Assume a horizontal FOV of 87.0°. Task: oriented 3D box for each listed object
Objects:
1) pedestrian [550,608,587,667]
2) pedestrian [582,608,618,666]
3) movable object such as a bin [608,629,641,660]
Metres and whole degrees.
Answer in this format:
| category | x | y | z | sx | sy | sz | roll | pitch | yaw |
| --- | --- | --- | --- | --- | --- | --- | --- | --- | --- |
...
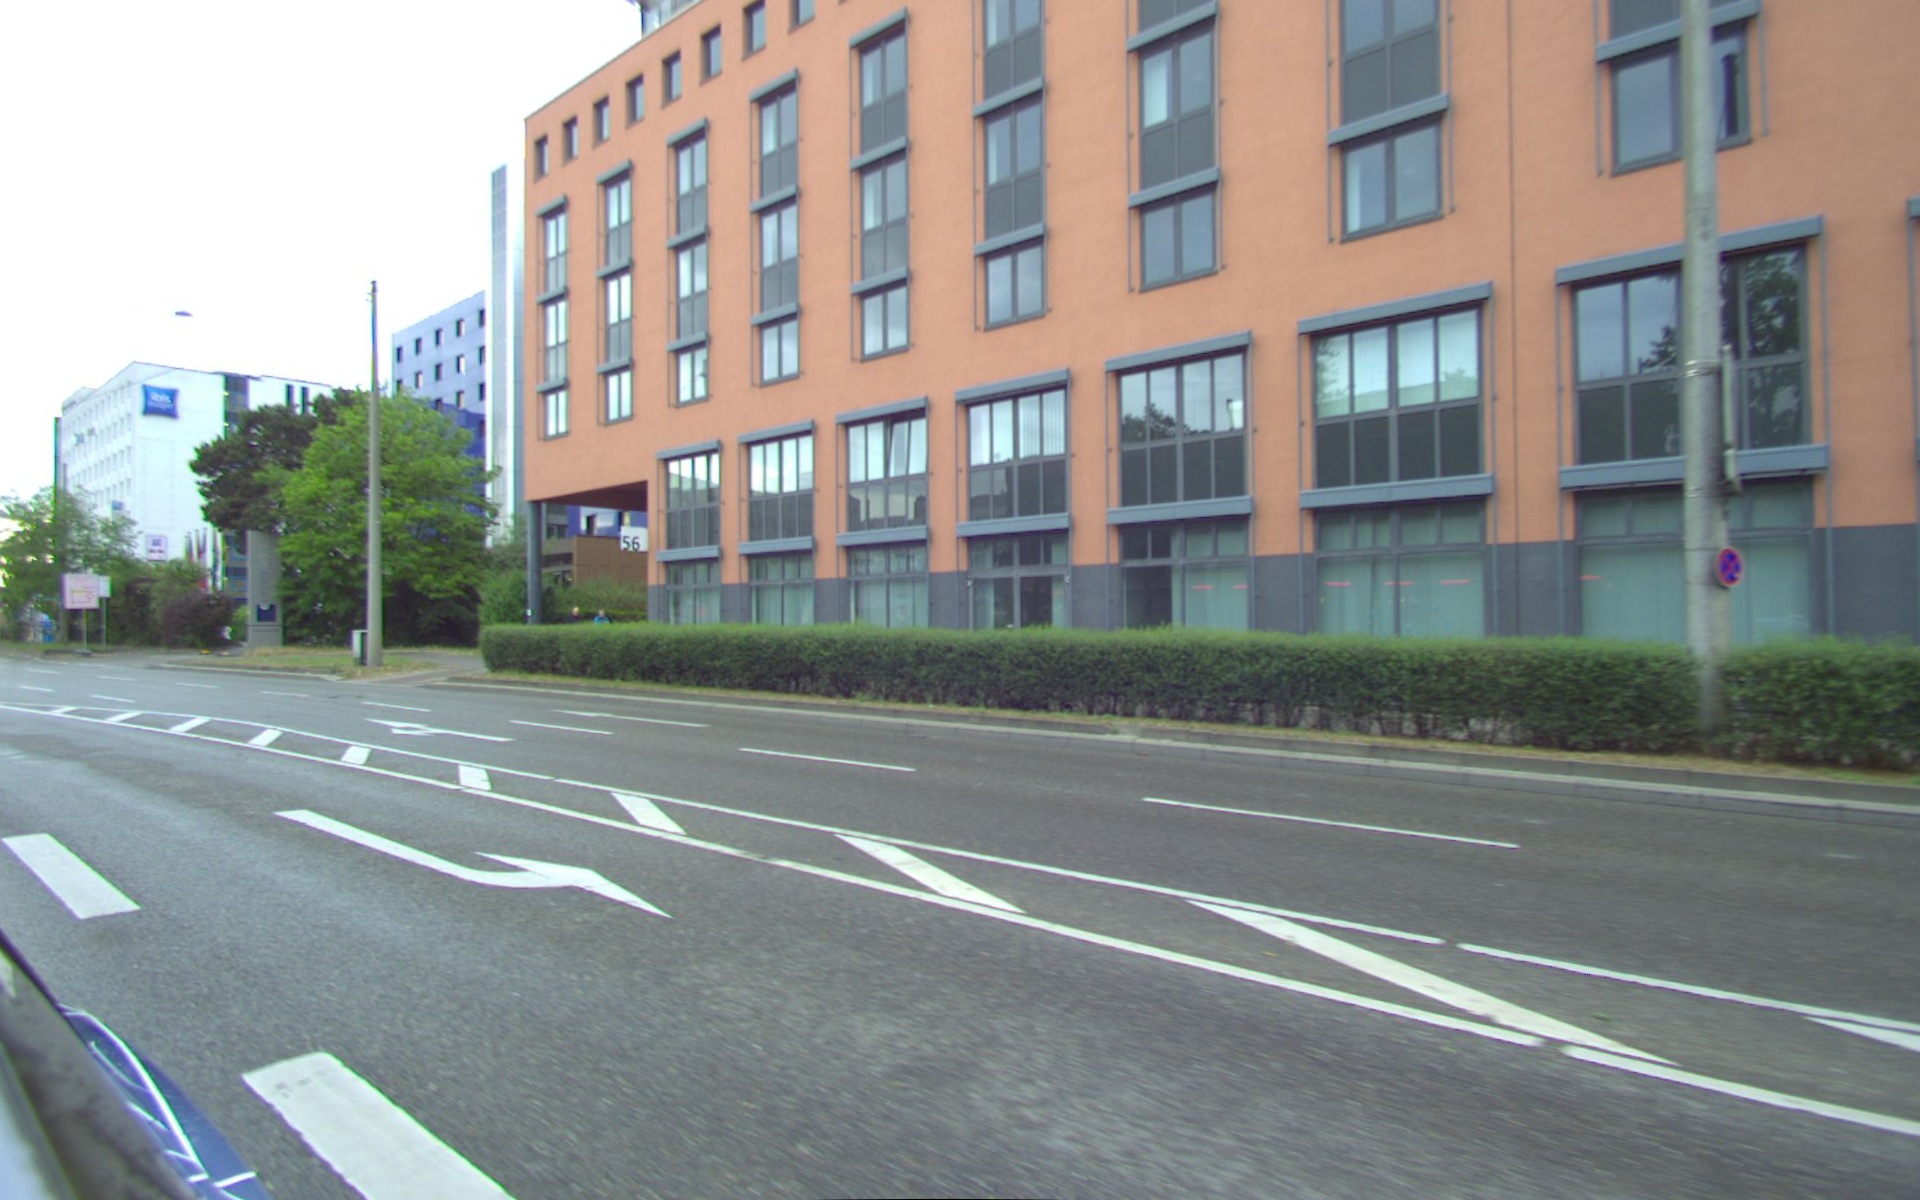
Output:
| category | x | y | z | sx | sy | sz | roll | pitch | yaw |
| --- | --- | --- | --- | --- | --- | --- | --- | --- | --- |
| pedestrian | -12.508 | 1.186 | 32.352 | 0.885 | 1.855 | 0.738 | -2 | -1 | 40 |
| pedestrian | -11.754 | 1.188 | 33.029 | 0.885 | 1.855 | 0.738 | -2 | -1 | 40 |
| movable object such as a bin | -14.029 | 1.846 | 42.306 | 1.208 | 1.257 | 0.773 | -1 | -1 | 36 |
